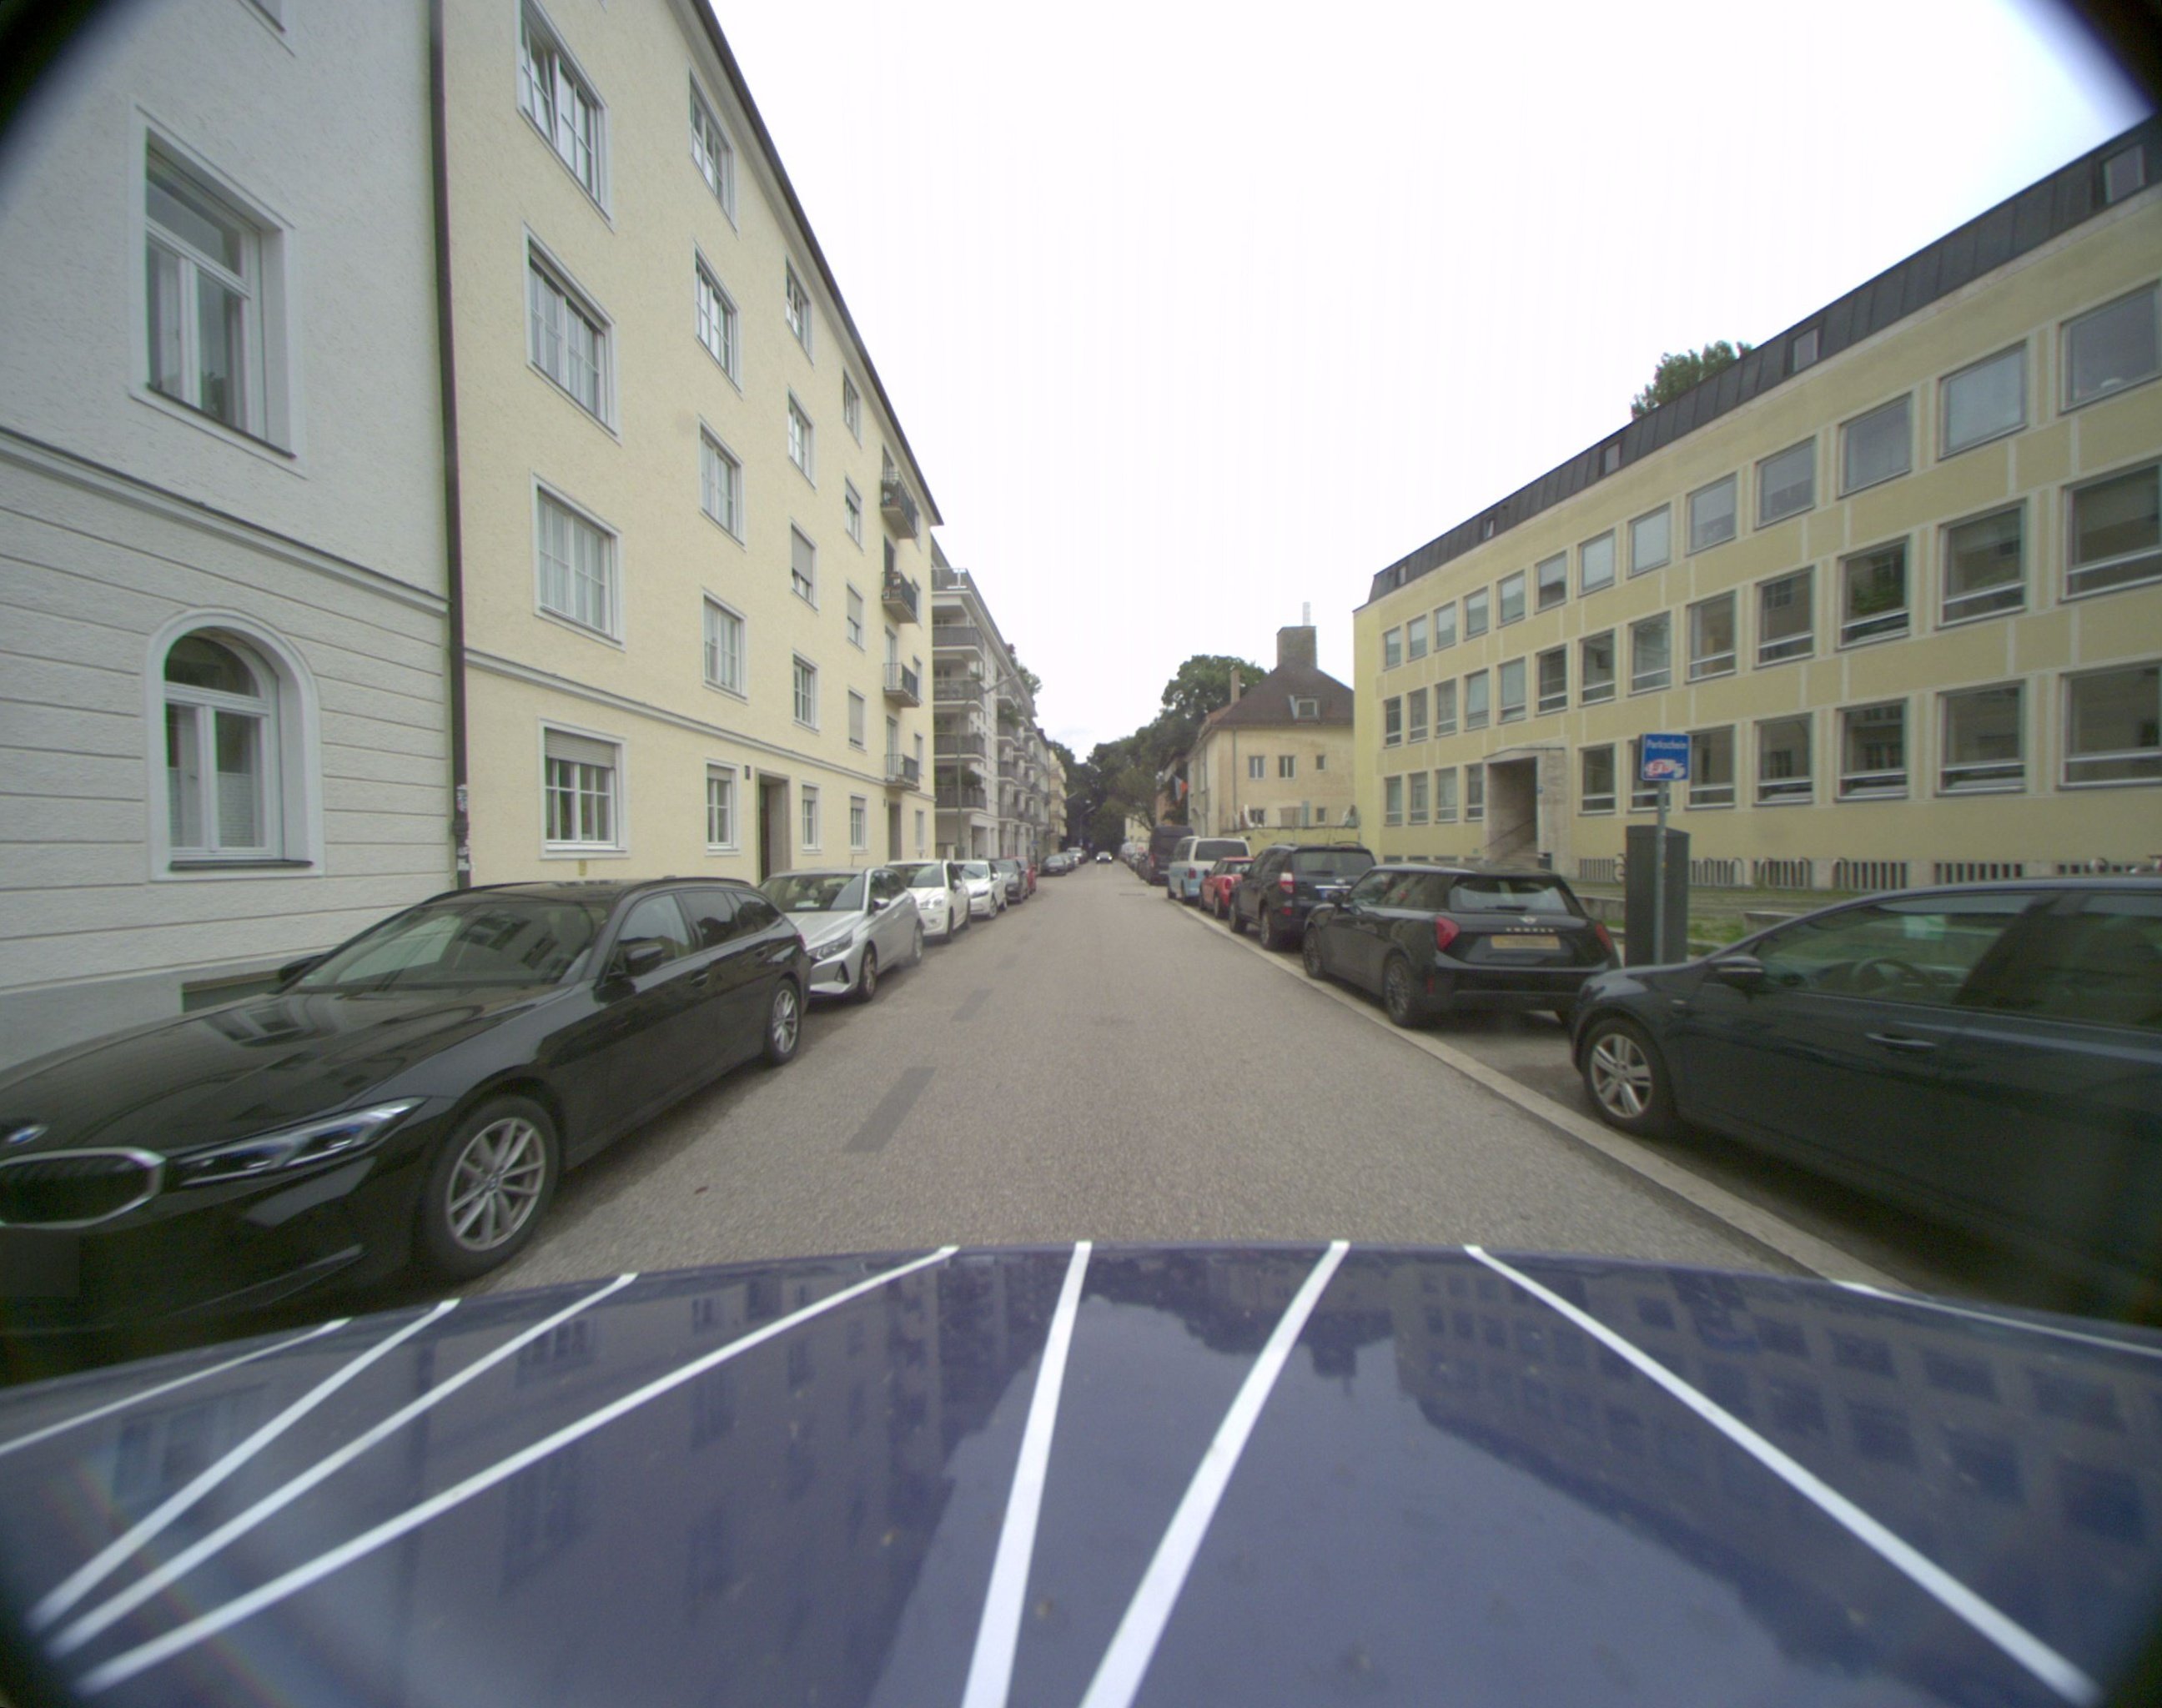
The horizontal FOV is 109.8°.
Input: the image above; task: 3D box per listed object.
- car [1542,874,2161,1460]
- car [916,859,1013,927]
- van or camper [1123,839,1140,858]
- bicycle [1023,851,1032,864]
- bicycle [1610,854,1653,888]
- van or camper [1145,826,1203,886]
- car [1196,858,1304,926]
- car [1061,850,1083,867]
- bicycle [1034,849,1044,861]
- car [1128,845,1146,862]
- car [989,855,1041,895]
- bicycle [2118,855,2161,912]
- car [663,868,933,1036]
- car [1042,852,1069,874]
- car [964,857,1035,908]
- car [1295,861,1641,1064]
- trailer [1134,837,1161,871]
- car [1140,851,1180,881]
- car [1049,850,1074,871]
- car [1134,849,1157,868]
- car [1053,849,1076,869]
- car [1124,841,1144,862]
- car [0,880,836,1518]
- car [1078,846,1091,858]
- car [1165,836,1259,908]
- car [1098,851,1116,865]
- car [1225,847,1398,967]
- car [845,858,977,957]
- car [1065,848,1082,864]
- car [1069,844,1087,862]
[{"bbox_3d":[3.723,0.896,2.659,1.635,1.486,4.100,1,0,-1],"label":"car"},{"bbox_3d":[-2.815,0.897,19.301,1.729,1.421,4.293,-2,0,0],"label":"car"},{"bbox_3d":[7.077,-0.775,107.435,2.116,2.646,4.958,0,0,1],"label":"van or camper"},{"bbox_3d":[-4.755,0.321,67.527,0.570,1.092,1.810,2,1,2],"label":"bicycle"},{"bbox_3d":[16.448,0.502,22.691,1.413,0.939,0.413,-3,1,-27],"label":"bicycle"},{"bbox_3d":[4.335,0.061,36.144,2.298,2.635,5.561,1,1,3],"label":"van or camper"},{"bbox_3d":[3.940,0.829,18.344,1.809,1.398,3.709,1,0,1],"label":"car"},{"bbox_3d":[-0.762,0.379,69.472,1.842,1.524,4.021,0,0,1],"label":"car"},{"bbox_3d":[-4.171,0.119,76.135,0.803,1.165,1.973,-1,1,2],"label":"bicycle"},{"bbox_3d":[5.933,-0.088,80.661,1.719,1.746,4.250,0,0,1],"label":"car"},{"bbox_3d":[-2.553,0.778,30.087,1.659,1.421,3.756,-2,0,0],"label":"car"},{"bbox_3d":[19.050,0.490,13.248,1.411,0.939,0.414,-3,1,-2],"label":"bicycle"},{"bbox_3d":[-3.088,0.969,9.303,1.729,1.441,4.187,-2,0,-1],"label":"car"},{"bbox_3d":[-1.757,0.622,53.628,1.776,1.467,4.217,-1,0,-1],"label":"car"},{"bbox_3d":[-2.585,0.862,25.110,1.777,1.421,4.615,-2,0,0],"label":"car"},{"bbox_3d":[3.512,0.854,7.764,1.635,1.486,3.819,0,1,1],"label":"car"},{"bbox_3d":[5.132,-0.054,58.555,1.980,2.457,4.578,2,1,5],"label":"trailer"},{"bbox_3d":[4.251,0.609,41.410,1.657,1.488,3.908,1,1,-2],"label":"car"},{"bbox_3d":[-1.469,0.488,58.534,1.621,1.458,3.746,-2,0,2],"label":"car"},{"bbox_3d":[5.337,0.365,63.479,1.683,1.521,4.107,0,0,1],"label":"car"},{"bbox_3d":[-1.335,0.398,63.513,1.795,1.473,4.603,-2,1,0],"label":"car"},{"bbox_3d":[6.330,-0.294,91.027,2.117,2.462,5.231,0,0,1],"label":"car"},{"bbox_3d":[-3.116,0.985,4.279,1.880,1.441,4.677,-2,0,0],"label":"car"},{"bbox_3d":[0.536,-0.293,107.254,1.771,1.607,4.263,-1,0,1],"label":"car"},{"bbox_3d":[3.828,0.487,23.116,1.920,1.948,4.961,1,0,-1],"label":"car"},{"bbox_3d":[2.989,0.487,87.394,1.998,1.521,4.000,-2,0,1],"label":"car"},{"bbox_3d":[3.645,0.735,12.806,1.719,1.680,4.141,0,0,1],"label":"car"},{"bbox_3d":[-3.084,0.898,14.560,1.655,1.535,3.992,-2,0,-1],"label":"car"},{"bbox_3d":[-0.749,0.153,75.562,1.668,1.459,4.374,-1,2,-1],"label":"car"},{"bbox_3d":[-0.343,-0.124,90.285,1.858,2.019,4.783,-2,0,2],"label":"car"}]
